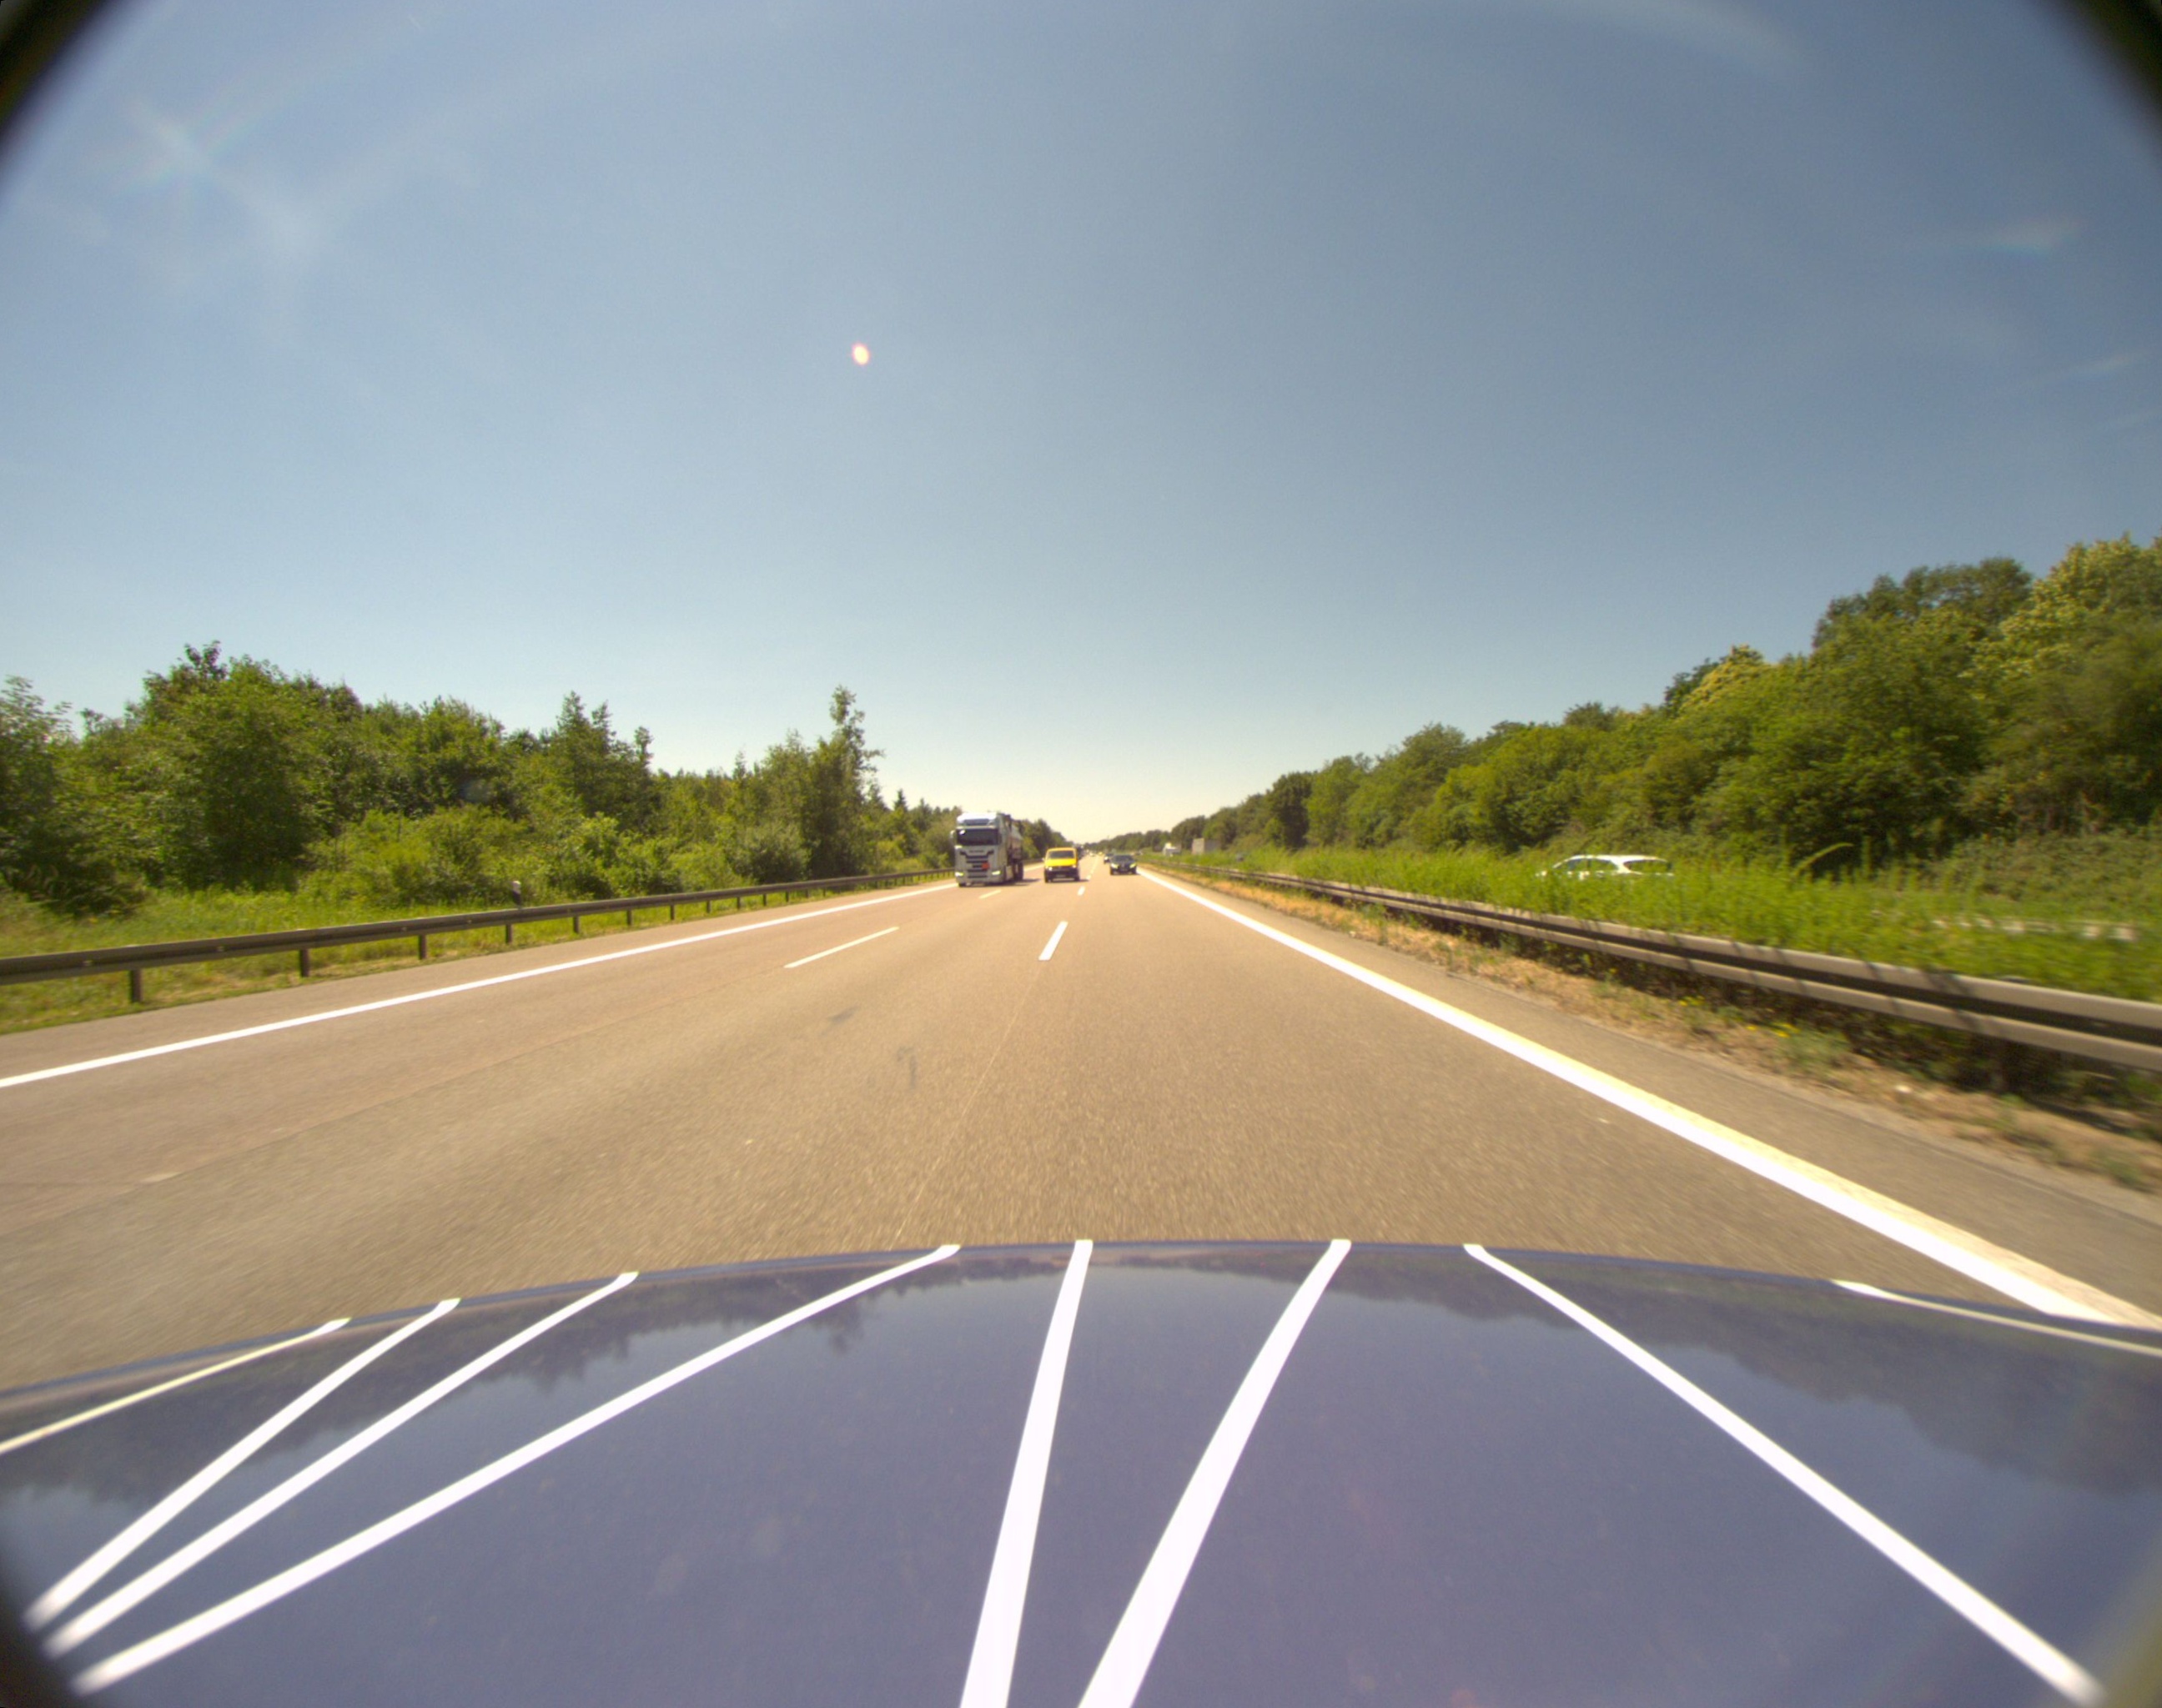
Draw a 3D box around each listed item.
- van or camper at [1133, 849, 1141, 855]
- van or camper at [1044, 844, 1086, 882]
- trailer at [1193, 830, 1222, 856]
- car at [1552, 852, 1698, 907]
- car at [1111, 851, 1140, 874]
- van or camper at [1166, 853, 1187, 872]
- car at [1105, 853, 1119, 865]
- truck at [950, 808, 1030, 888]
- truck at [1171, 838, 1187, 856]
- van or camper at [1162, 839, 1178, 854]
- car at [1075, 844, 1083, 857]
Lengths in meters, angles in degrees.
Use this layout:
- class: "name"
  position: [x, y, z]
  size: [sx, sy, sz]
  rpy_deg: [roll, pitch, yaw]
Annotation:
- class: "van or camper"
  position: [16.430, -0.667, 222.712]
  size: [1.998, 1.740, 5.058]
  rpy_deg: [-1, 0, 2]
- class: "van or camper"
  position: [-0.872, 0.473, 44.747]
  size: [2.063, 1.992, 5.884]
  rpy_deg: [-1, 0, 2]
- class: "trailer"
  position: [22.060, -1.925, 133.592]
  size: [3.152, 4.224, 14.479]
  rpy_deg: [-3, 1, 2]
- class: "car"
  position: [14.489, 0.632, 20.478]
  size: [1.398, 1.245, 3.585]
  rpy_deg: [-4, 1, 2]
- class: "car"
  position: [3.152, 0.576, 54.187]
  size: [1.894, 1.541, 4.039]
  rpy_deg: [1, 1, 1]
- class: "van or camper"
  position: [13.923, 1.206, 111.491]
  size: [2.127, 2.610, 6.459]
  rpy_deg: [0, 0, -1]
- class: "car"
  position: [4.401, 0.723, 109.777]
  size: [1.894, 1.541, 4.039]
  rpy_deg: [1, 1, 1]
- class: "truck"
  position: [-5.197, -0.386, 46.384]
  size: [2.805, 4.022, 13.354]
  rpy_deg: [-3, 1, 1]
- class: "truck"
  position: [23.699, -1.687, 184.388]
  size: [3.201, 4.125, 5.943]
  rpy_deg: [-3, 1, 1]
- class: "van or camper"
  position: [18.539, -1.518, 158.022]
  size: [2.619, 2.949, 7.859]
  rpy_deg: [-3, 1, 3]
- class: "car"
  position: [-0.542, -1.113, 224.452]
  size: [2.298, 3.886, 9.268]
  rpy_deg: [1, 1, 1]
